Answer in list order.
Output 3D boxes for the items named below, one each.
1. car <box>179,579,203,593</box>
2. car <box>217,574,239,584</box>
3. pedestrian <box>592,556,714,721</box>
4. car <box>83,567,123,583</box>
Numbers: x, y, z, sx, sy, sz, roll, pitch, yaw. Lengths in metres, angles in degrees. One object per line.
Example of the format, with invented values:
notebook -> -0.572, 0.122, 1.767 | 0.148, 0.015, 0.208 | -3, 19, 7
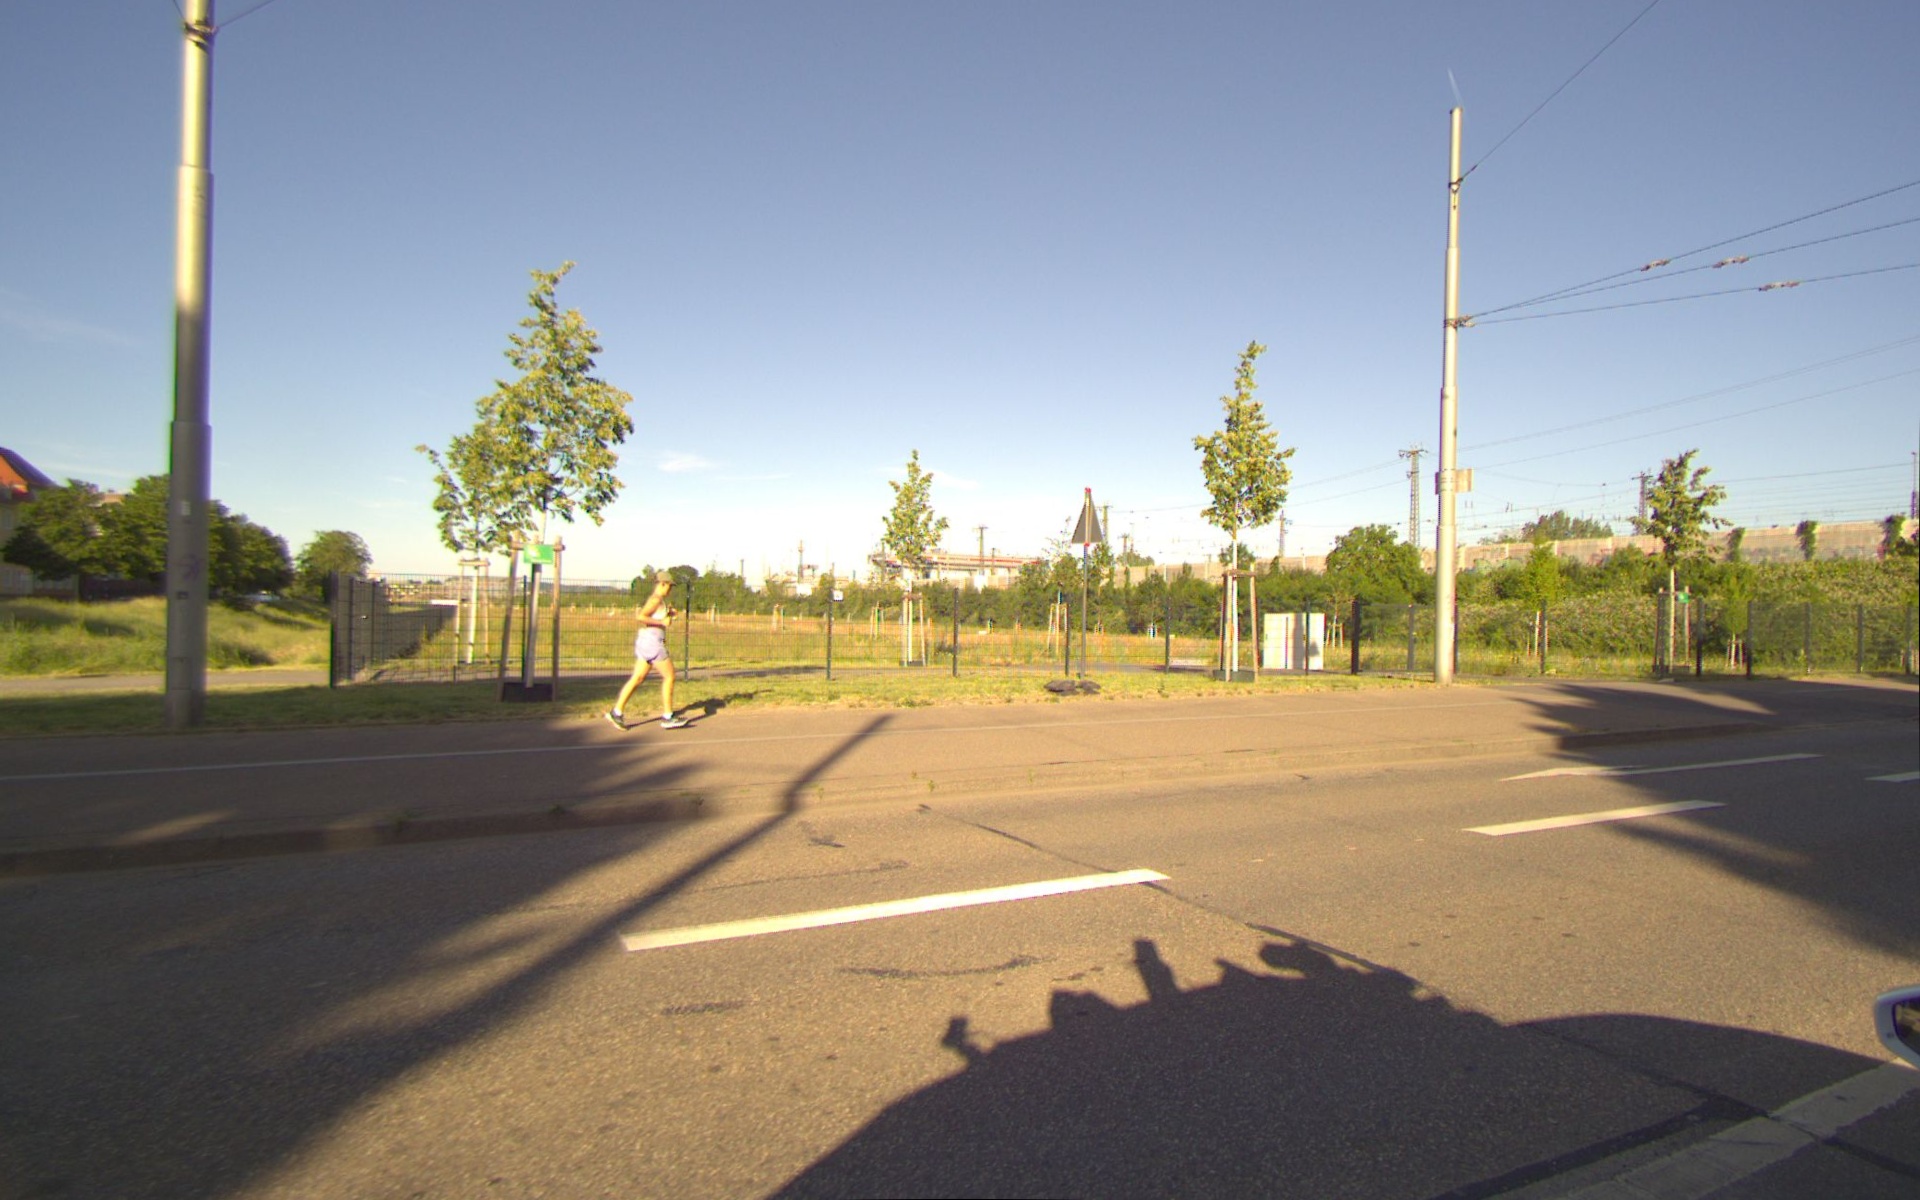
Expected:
car -> -90.906, -1.684, 118.793 | 1.680, 1.550, 3.872 | -3, 1, -29
car -> -109.526, -3.110, 150.375 | 1.916, 1.513, 4.181 | 0, 0, -25
pedestrian -> -3.269, 0.371, 10.663 | 1.164, 1.651, 0.830 | 0, 2, -24
car -> -84.152, -2.435, 98.716 | 1.916, 1.513, 4.181 | 0, 0, -25
